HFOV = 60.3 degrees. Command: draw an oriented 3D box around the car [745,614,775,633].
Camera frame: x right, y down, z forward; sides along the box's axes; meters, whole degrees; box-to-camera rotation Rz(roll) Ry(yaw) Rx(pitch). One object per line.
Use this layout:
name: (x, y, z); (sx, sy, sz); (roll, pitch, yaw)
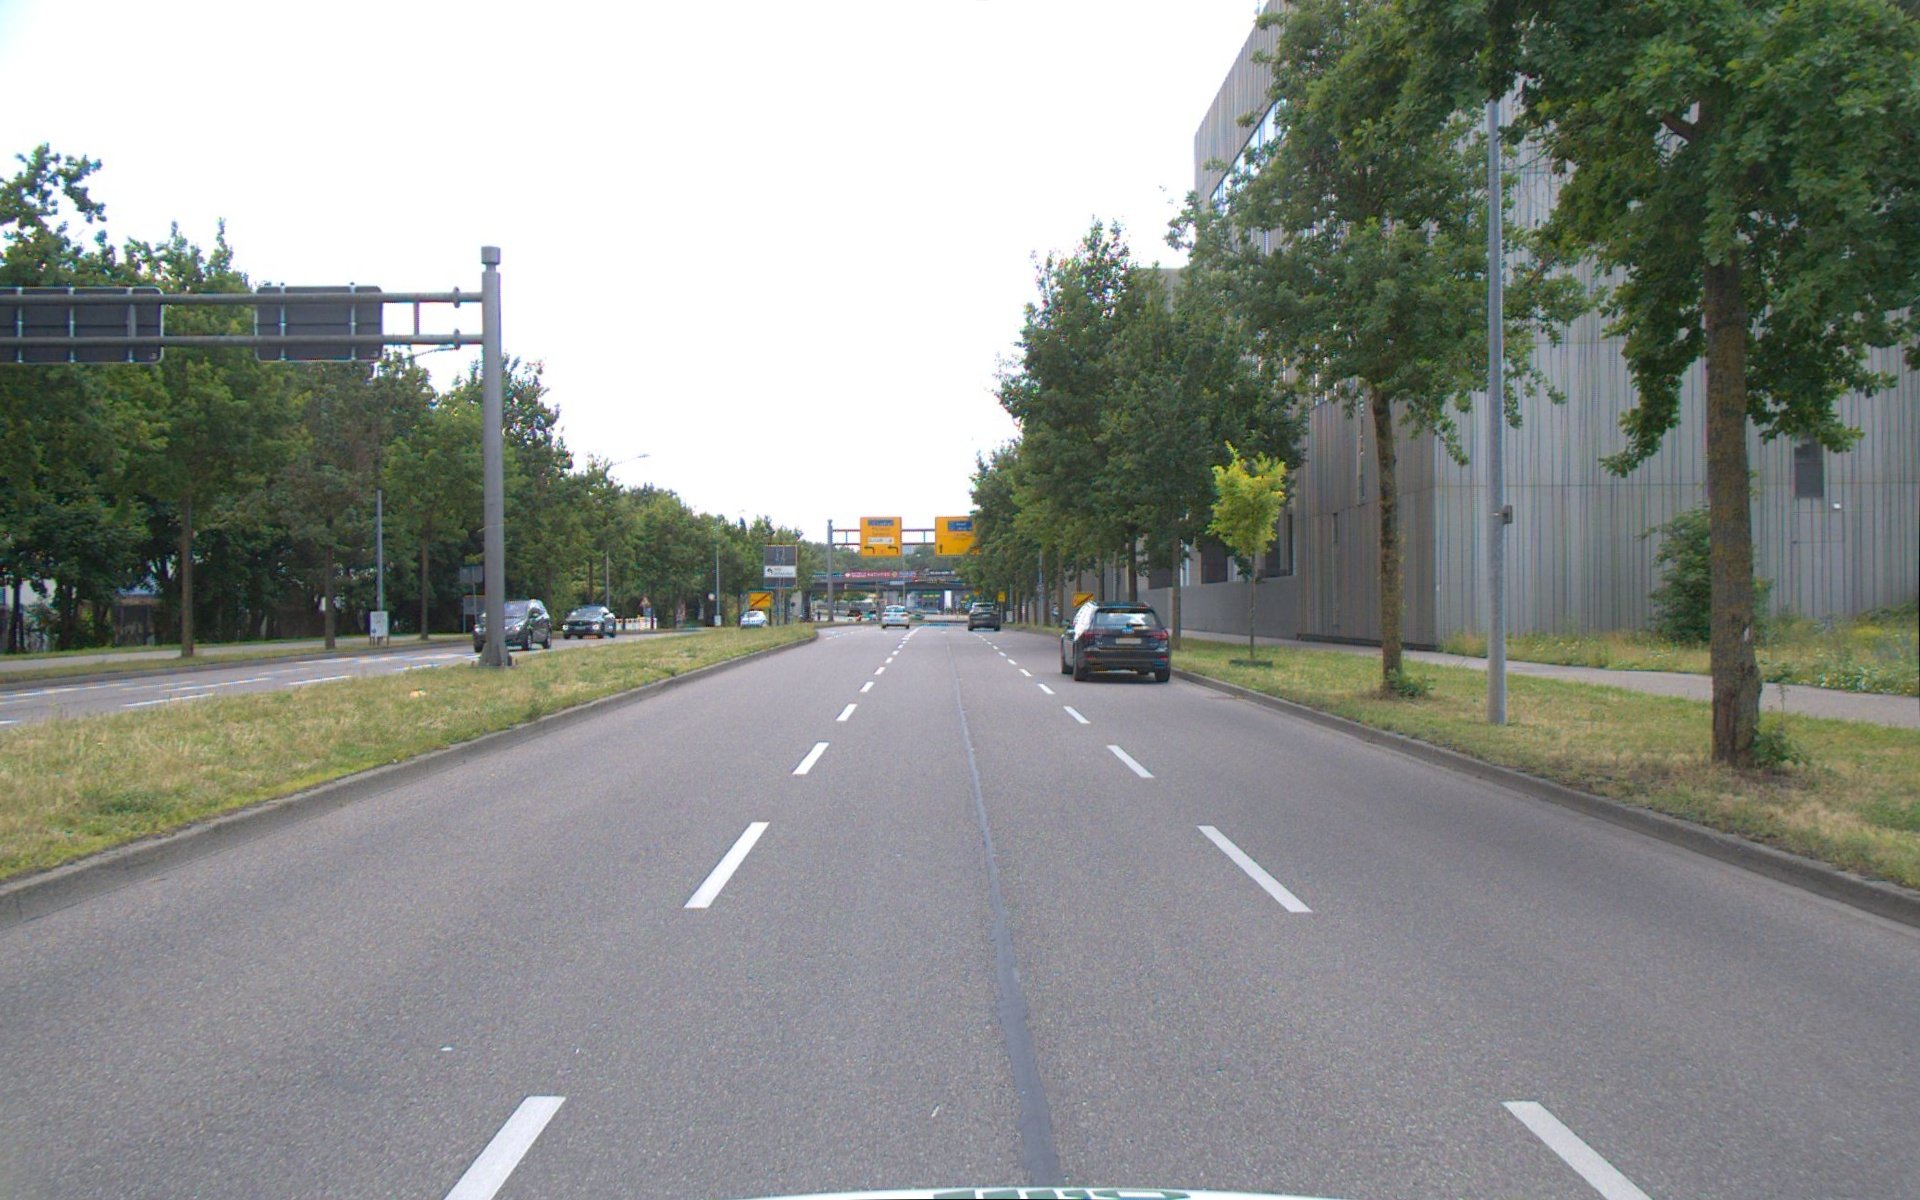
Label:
car: (-15.513, 1.817, 128.300); (1.606, 1.352, 4.383); (-1, 0, 2)

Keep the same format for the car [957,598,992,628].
car: (0.895, 0.737, 96.782); (1.952, 1.654, 4.310); (-1, 0, 1)

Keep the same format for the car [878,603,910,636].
car: (-4.221, 1.263, 105.788); (1.954, 2.049, 3.997); (1, -1, -3)

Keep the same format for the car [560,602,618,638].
car: (-17.165, 0.892, 76.761); (1.706, 1.572, 4.572); (-2, 0, -1)

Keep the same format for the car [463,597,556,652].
car: (-14.175, 0.750, 52.259); (1.706, 1.596, 4.276); (-2, 0, 0)

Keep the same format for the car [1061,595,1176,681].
car: (2.928, 0.698, 31.224); (1.650, 1.489, 3.998); (1, -1, -2)

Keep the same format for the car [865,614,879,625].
car: (-13.753, 3.034, 259.716); (1.953, 1.646, 4.000); (-1, -1, 0)
